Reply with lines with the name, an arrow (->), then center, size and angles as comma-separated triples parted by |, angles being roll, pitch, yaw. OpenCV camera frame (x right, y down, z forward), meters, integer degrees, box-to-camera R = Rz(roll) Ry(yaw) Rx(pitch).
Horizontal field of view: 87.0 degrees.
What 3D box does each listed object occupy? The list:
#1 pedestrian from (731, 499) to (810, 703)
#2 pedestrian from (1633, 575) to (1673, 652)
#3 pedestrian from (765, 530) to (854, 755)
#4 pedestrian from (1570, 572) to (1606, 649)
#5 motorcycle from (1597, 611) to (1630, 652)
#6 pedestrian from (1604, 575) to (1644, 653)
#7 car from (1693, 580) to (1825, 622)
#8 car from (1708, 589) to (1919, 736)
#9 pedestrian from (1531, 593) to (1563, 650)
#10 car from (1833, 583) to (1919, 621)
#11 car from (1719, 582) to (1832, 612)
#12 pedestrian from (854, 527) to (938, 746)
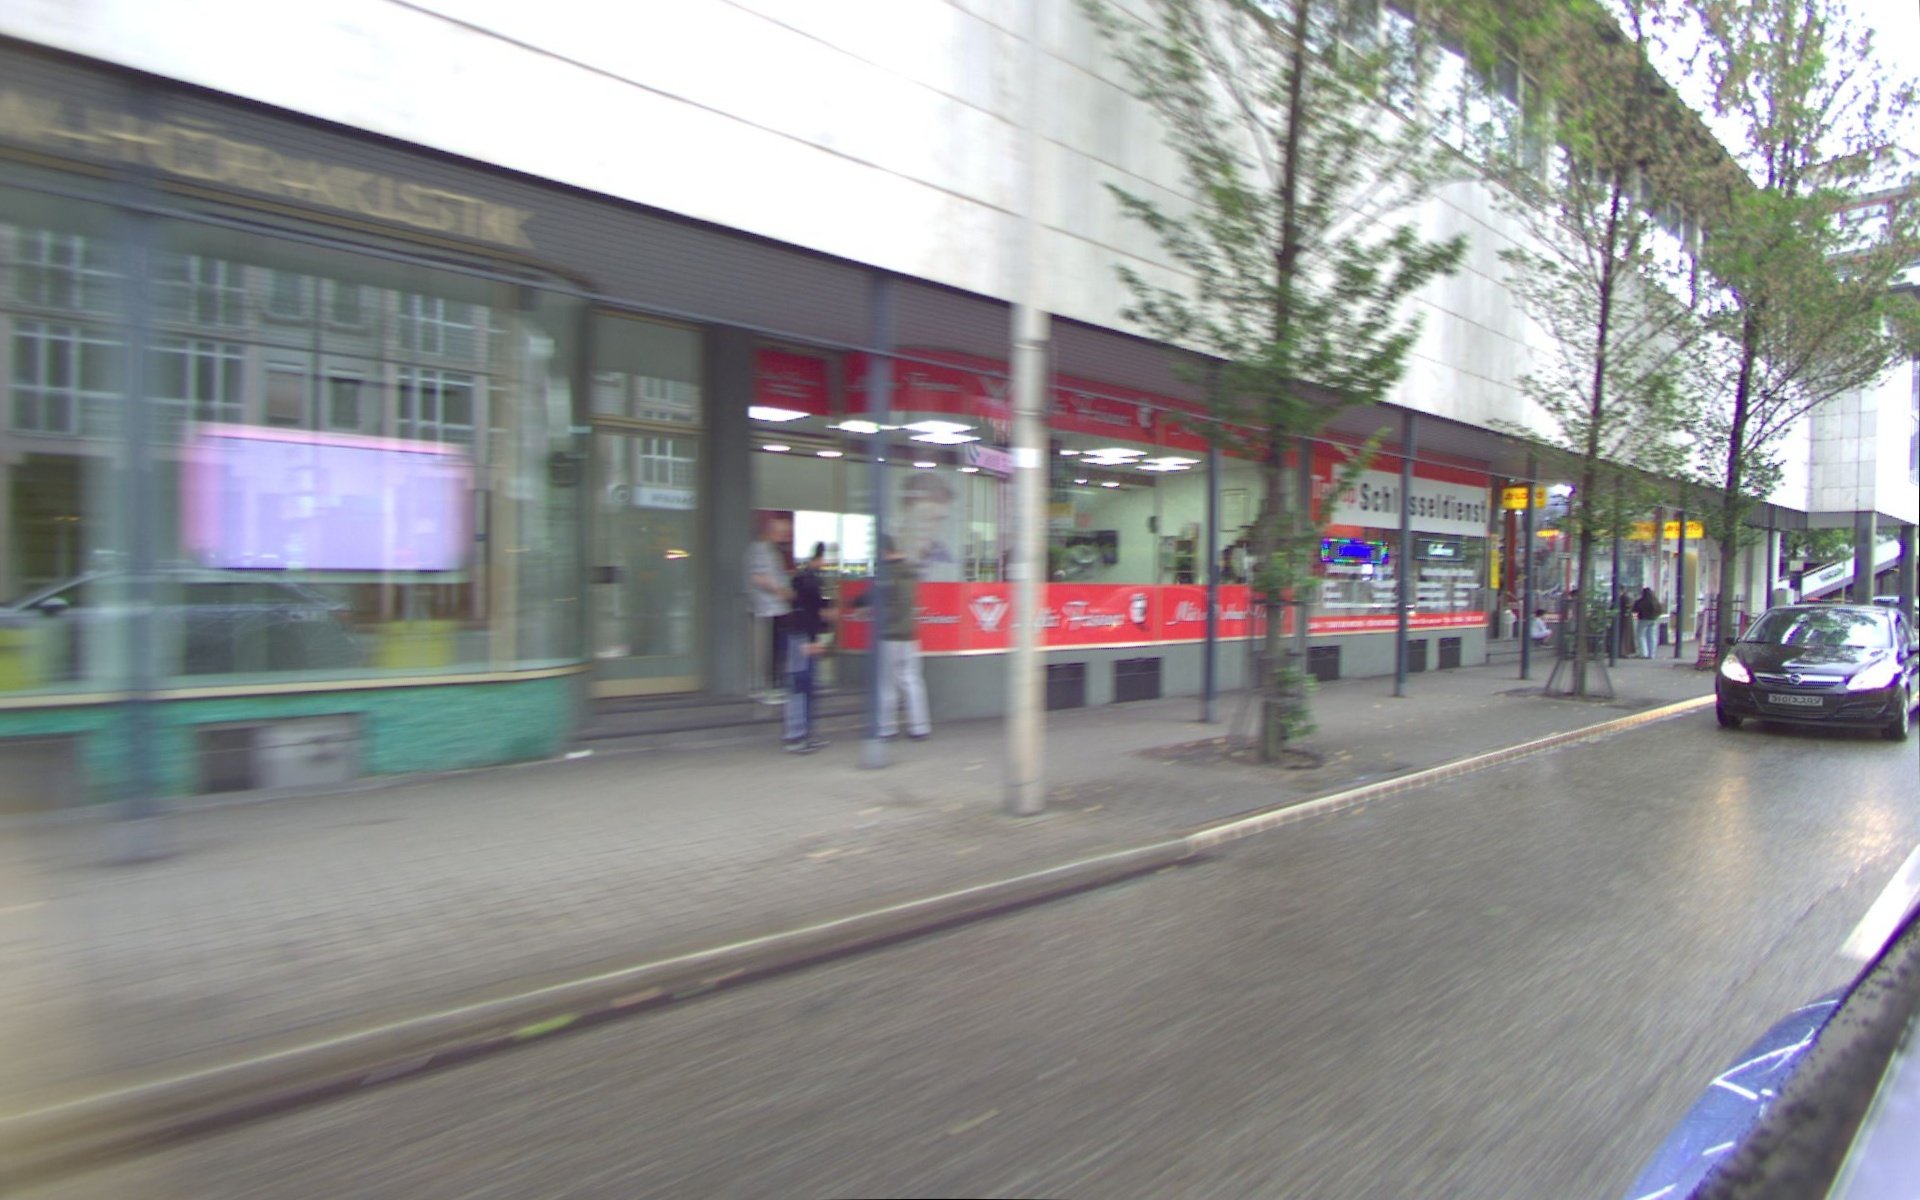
pedestrian -> -1.698, 0.002, 9.034 | 0.524, 1.740, 0.539 | 0, 1, -30
pedestrian -> 14.503, 0.278, 21.184 | 0.502, 1.586, 0.429 | 2, 1, 12
pedestrian -> -1.222, 0.323, 8.200 | 0.524, 1.740, 0.538 | 0, 1, -32
pedestrian -> 13.210, 0.218, 21.291 | 0.500, 1.586, 0.430 | 0, 2, -36
motorcycle -> 13.695, 0.650, 21.205 | 0.904, 0.814, 0.325 | 1, 2, -41
pedestrian -> 13.840, 0.287, 21.100 | 0.501, 1.586, 0.430 | 1, 1, 6
car -> 37.887, 0.007, 48.118 | 1.822, 1.781, 4.608 | -2, 3, -36
car -> 10.621, 0.647, 12.193 | 3.675, 1.475, 1.712 | 1, 1, -39
pedestrian -> 12.199, 0.431, 21.031 | 0.424, 1.150, 0.507 | 2, 1, 15
car -> 39.315, 0.067, 42.236 | 1.959, 1.495, 4.007 | -1, 1, -9
car -> 42.108, -0.174, 52.322 | 1.756, 1.437, 4.268 | -1, 2, -40
pedestrian -> -0.565, 0.300, 8.870 | 0.524, 1.842, 0.538 | 0, 1, -32
